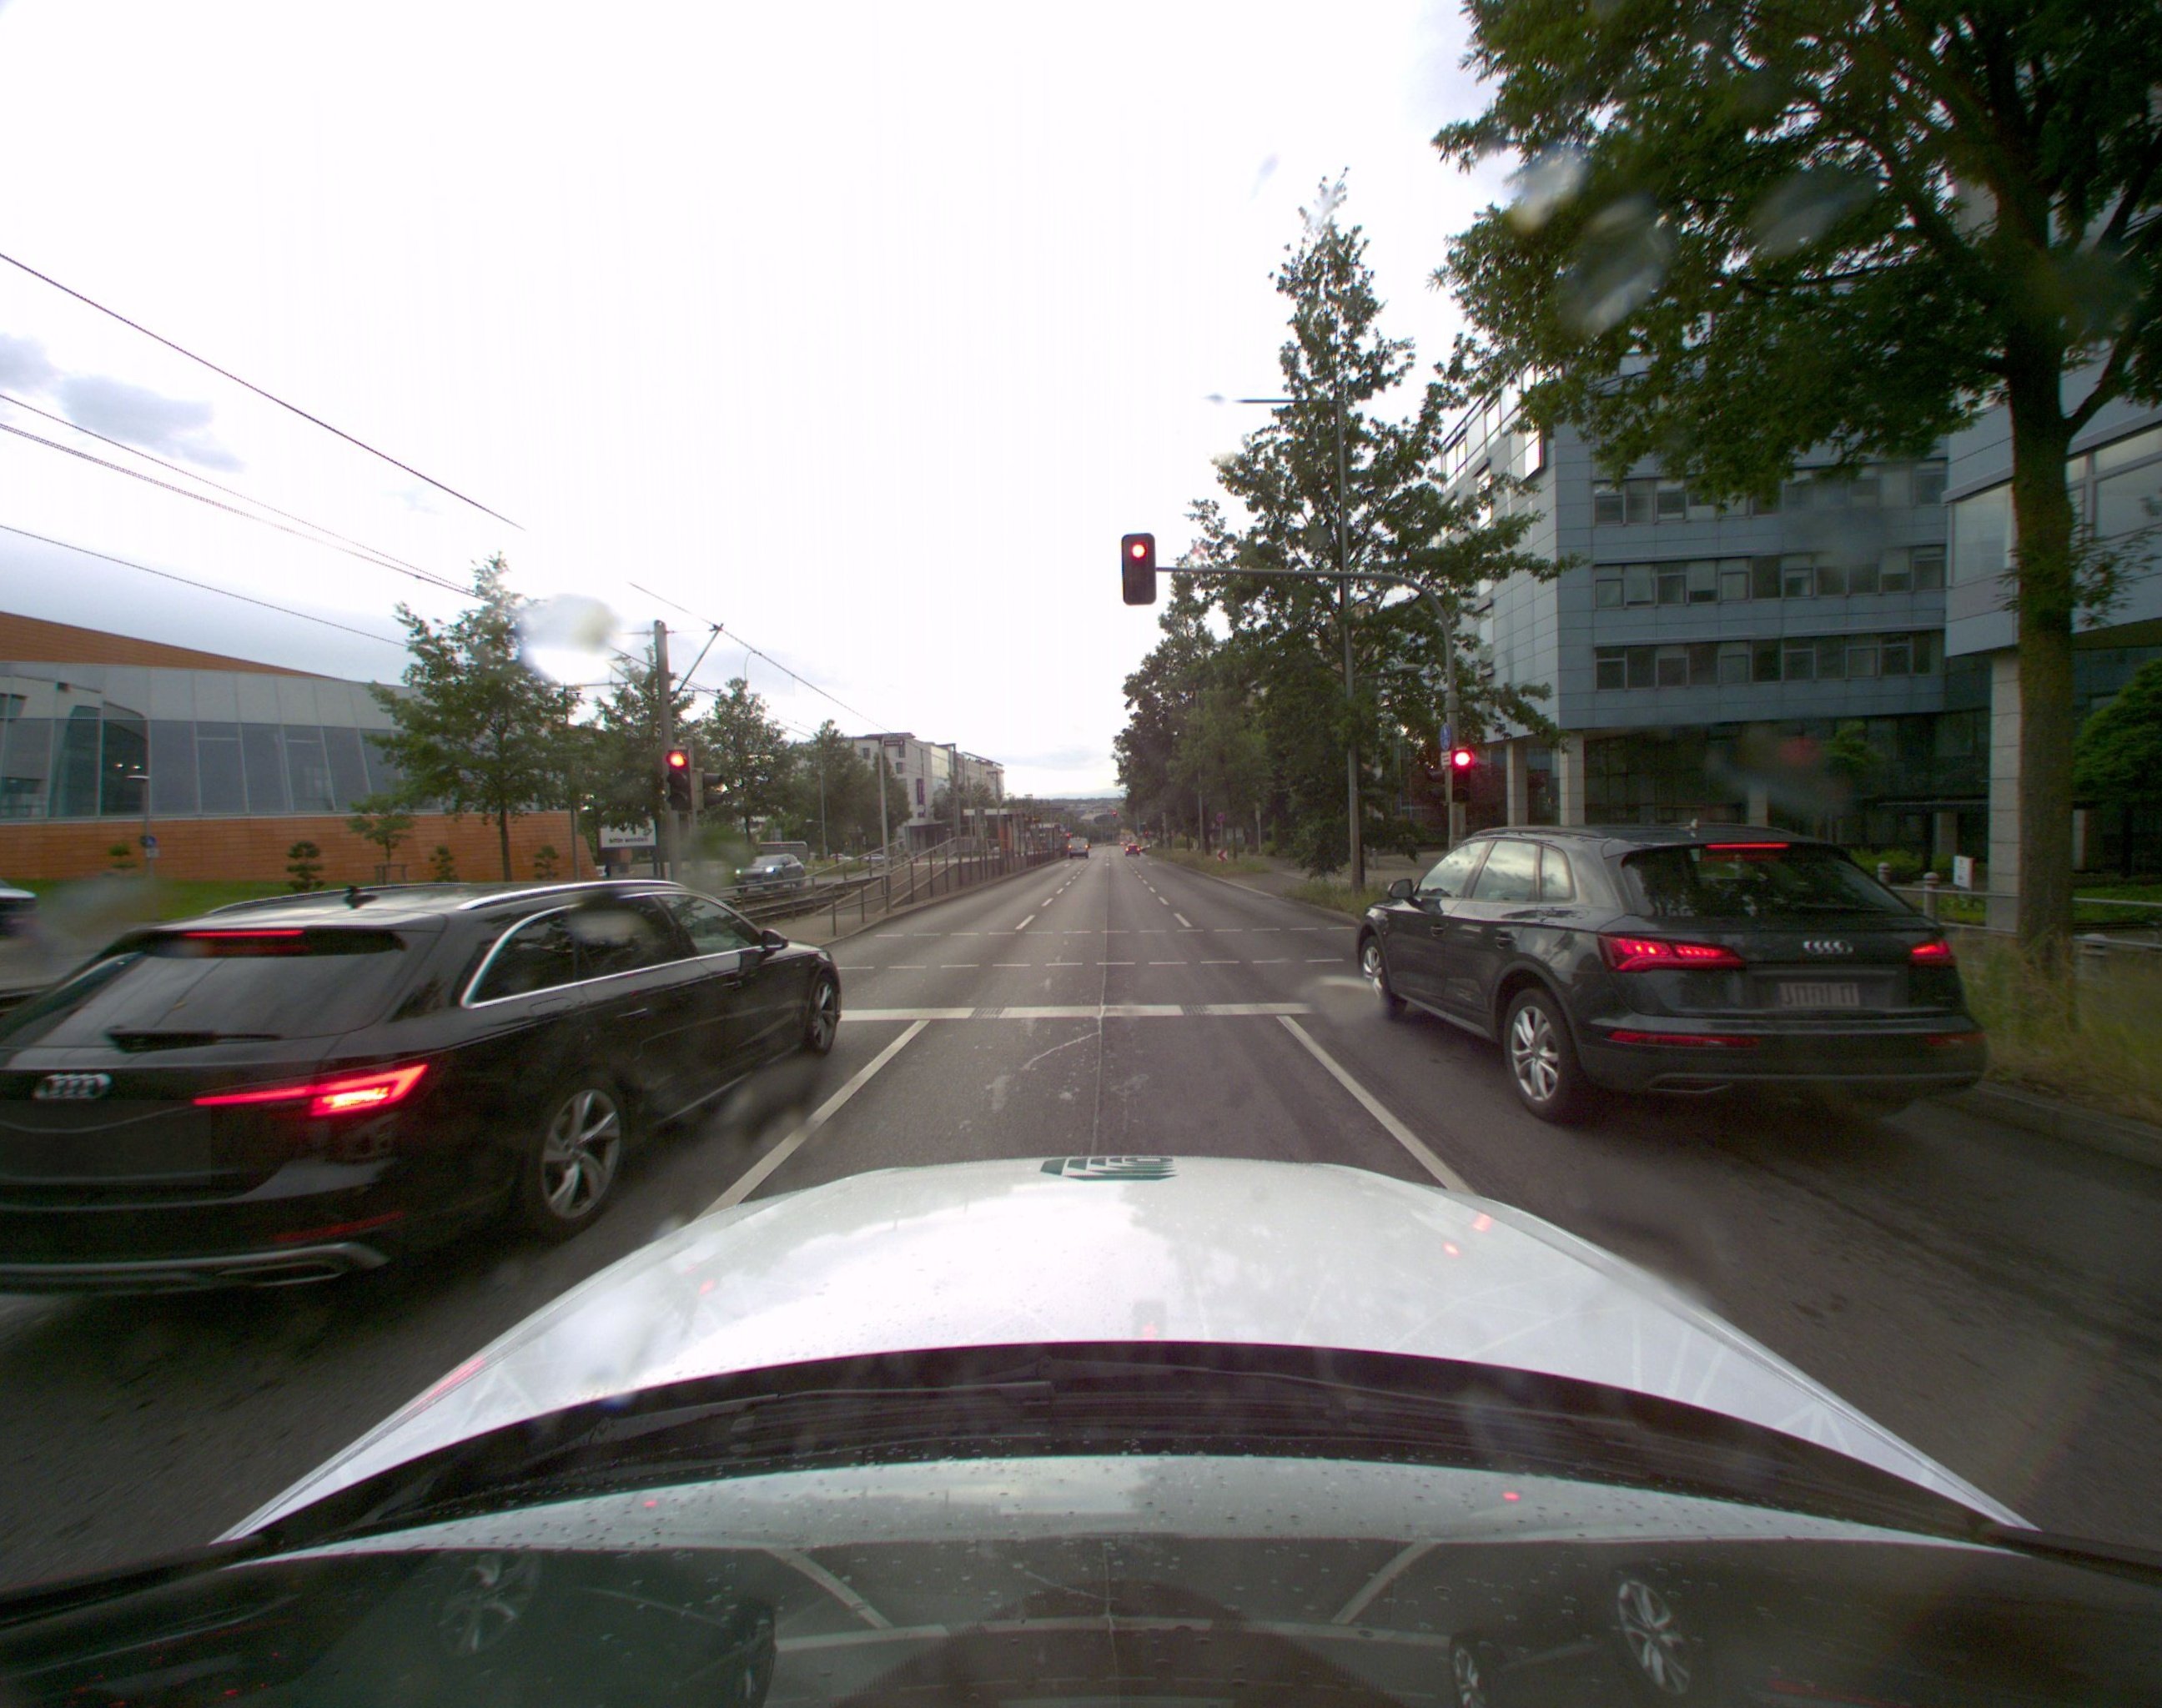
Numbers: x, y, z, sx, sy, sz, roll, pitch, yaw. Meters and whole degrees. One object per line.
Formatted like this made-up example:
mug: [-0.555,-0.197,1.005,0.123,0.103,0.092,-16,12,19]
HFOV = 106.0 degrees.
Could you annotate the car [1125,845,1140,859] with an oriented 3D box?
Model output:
car: [6.486,-0.316,102.218,1.767,1.691,3.847,-1,1,2]

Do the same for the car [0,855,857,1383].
car: [-2.864,0.783,4.625,1.774,1.466,4.515,-1,0,2]

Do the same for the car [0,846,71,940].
car: [-32.729,1.053,22.518,5.616,2.581,2.393,1,0,-16]

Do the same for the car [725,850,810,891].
car: [-14.971,0.731,39.221,1.986,1.719,4.843,-3,1,2]

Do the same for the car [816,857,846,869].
car: [-31.080,1.108,101.156,3.341,1.387,1.440,-1,1,18]

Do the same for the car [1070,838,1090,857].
car: [-0.090,-0.763,91.282,2.085,2.053,4.609,-1,1,2]

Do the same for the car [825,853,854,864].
car: [-37.281,0.687,125.946,4.093,1.436,1.648,-4,0,-13]

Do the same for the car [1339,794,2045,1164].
car: [3.428,0.539,5.863,1.811,1.612,4.472,-1,0,2]

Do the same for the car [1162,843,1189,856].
car: [14.980,-0.672,129.363,3.982,2.013,1.756,-2,0,-7]

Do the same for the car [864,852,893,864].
car: [-30.623,0.609,123.330,3.858,1.436,1.654,-4,0,-3]

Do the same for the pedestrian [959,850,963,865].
pedestrian: [-16.008,0.486,108.805,0.473,1.920,0.490,-1,0,1]
